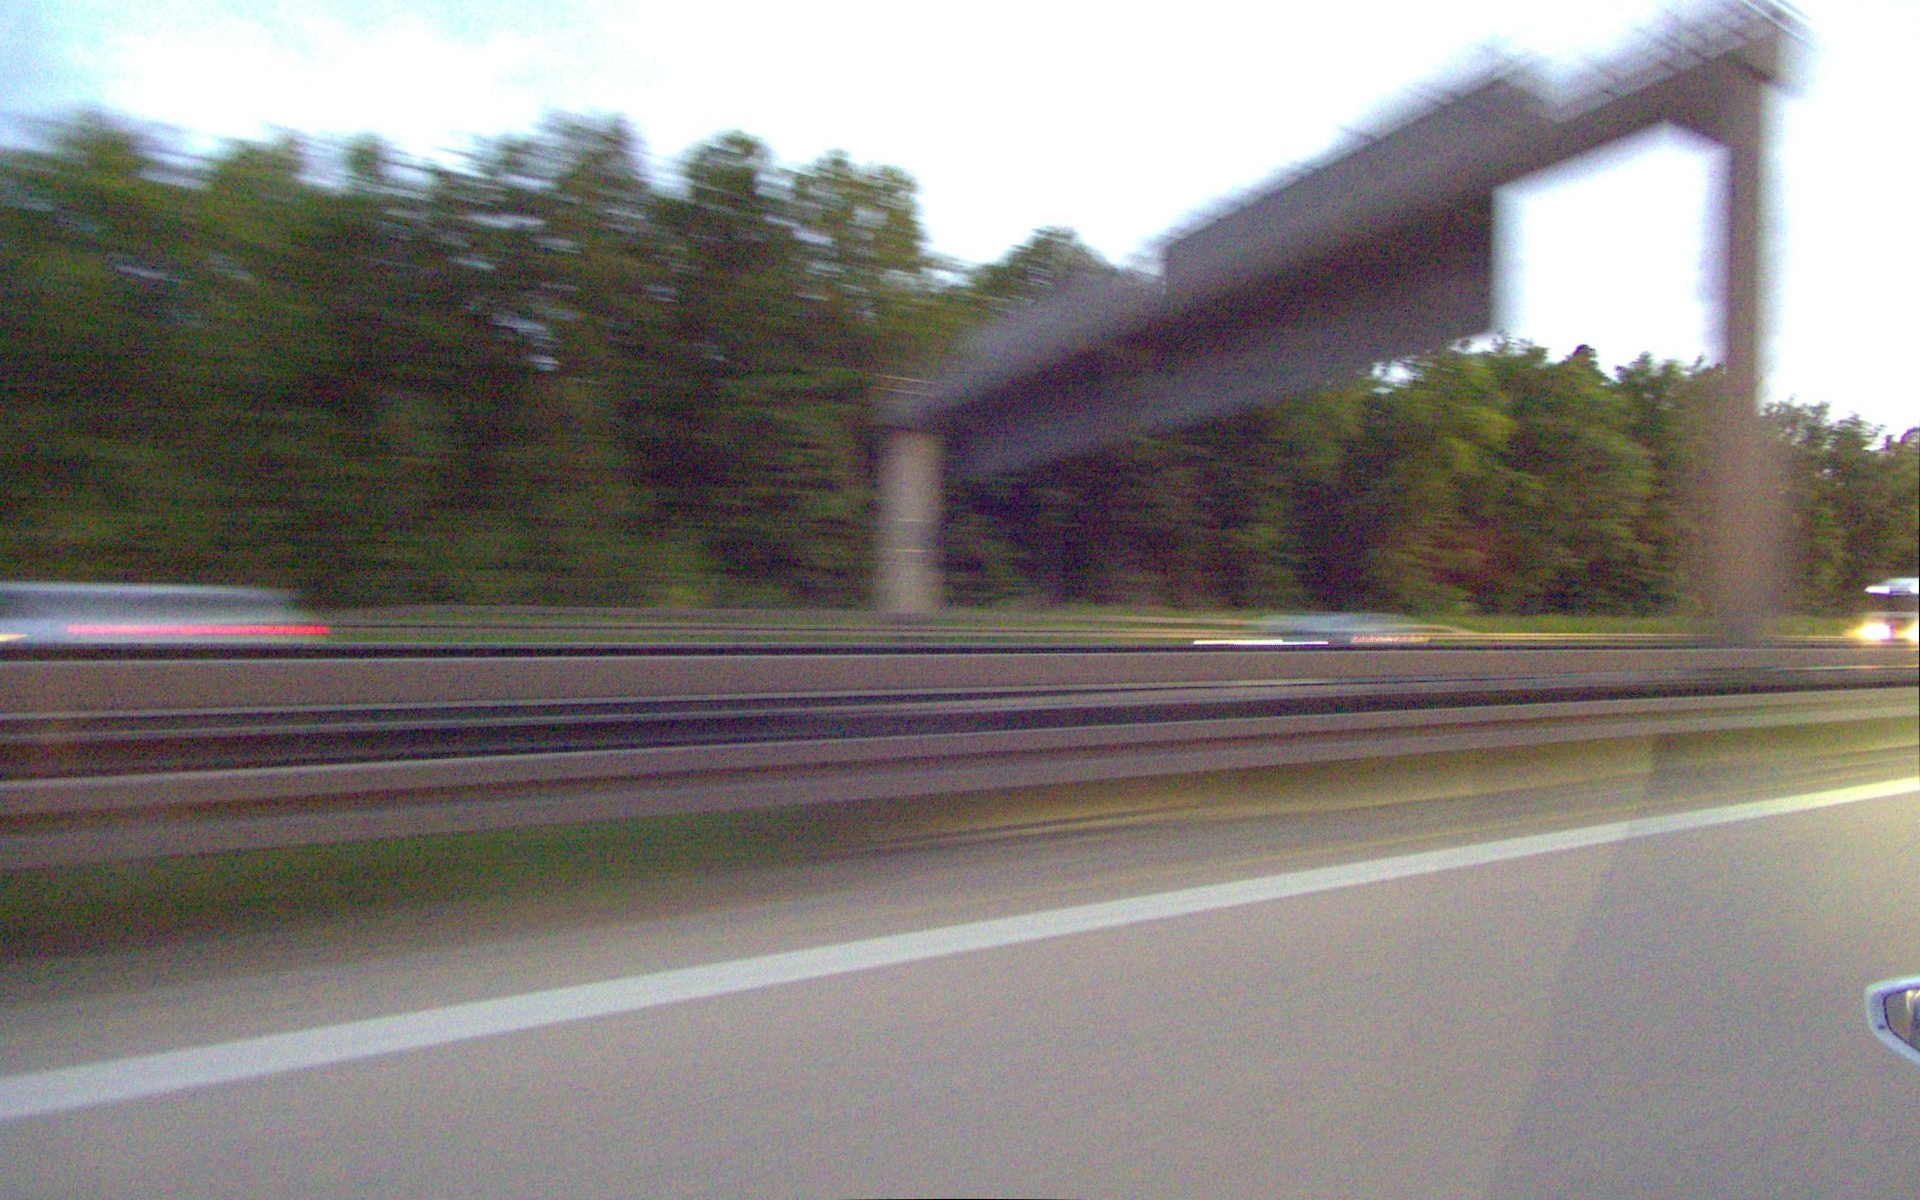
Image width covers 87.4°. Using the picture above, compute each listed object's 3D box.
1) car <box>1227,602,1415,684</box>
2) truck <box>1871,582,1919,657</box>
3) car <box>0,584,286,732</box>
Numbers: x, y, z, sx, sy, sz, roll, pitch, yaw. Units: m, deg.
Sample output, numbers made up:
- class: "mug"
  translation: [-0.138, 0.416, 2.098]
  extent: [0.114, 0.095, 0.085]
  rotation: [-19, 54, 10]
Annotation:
- class: "car"
  translation: [8.739, 1.005, 24.248]
  extent: [4.322, 1.821, 1.984]
  rotation: [1, -1, -30]
- class: "truck"
  translation: [56.454, 1.197, 57.682]
  extent: [10.410, 4.064, 2.635]
  rotation: [2, 0, -27]
- class: "car"
  translation: [-11.717, 0.727, 13.545]
  extent: [4.155, 1.821, 1.985]
  rotation: [1, -1, -29]
